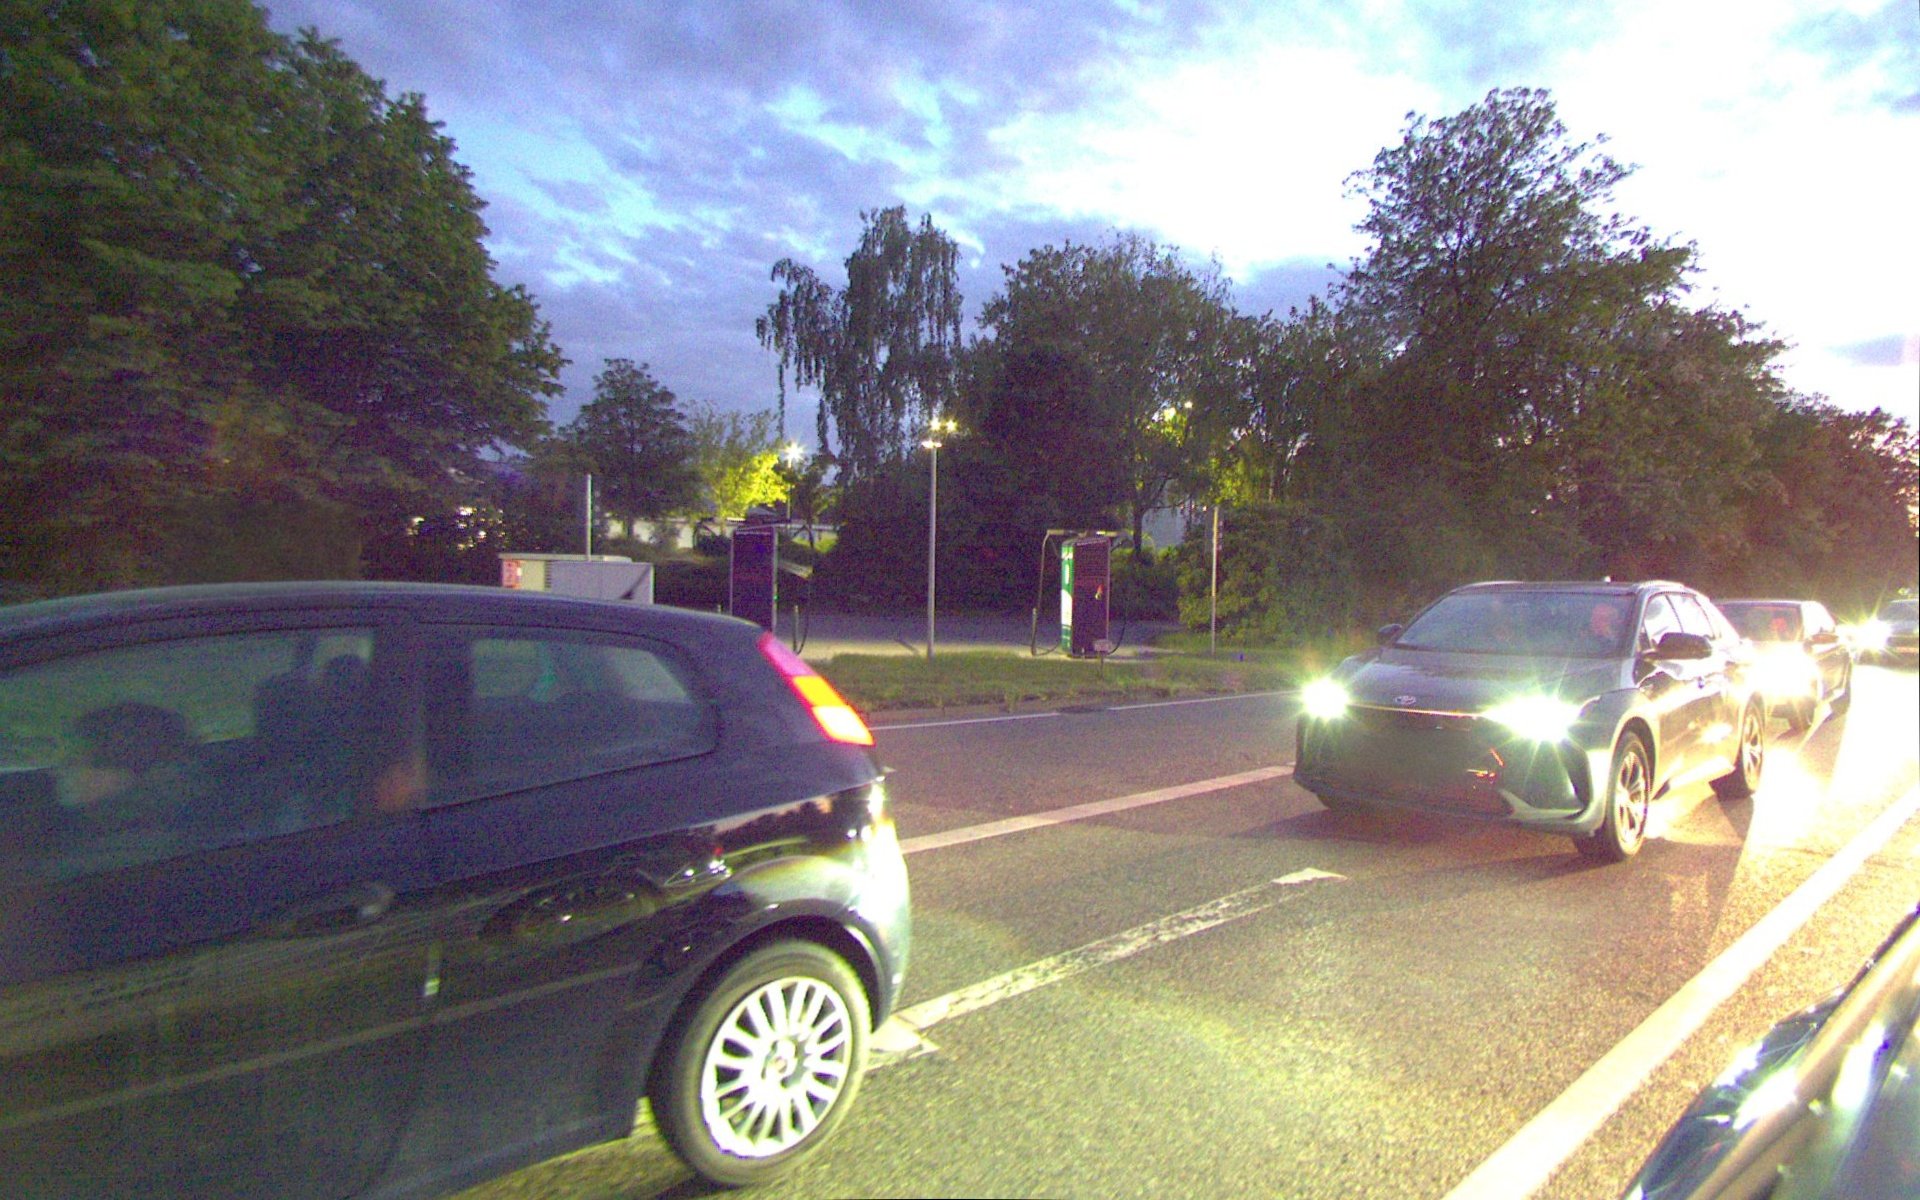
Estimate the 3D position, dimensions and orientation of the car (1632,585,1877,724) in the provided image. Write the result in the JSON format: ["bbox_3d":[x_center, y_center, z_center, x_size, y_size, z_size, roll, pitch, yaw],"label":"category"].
[{"bbox_3d":[9.809,0.573,12.407,3.688,1.431,1.621,1,1,-40],"label":"car"}]

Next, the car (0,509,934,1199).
[{"bbox_3d":[-1.999,0.624,2.261,3.648,1.556,1.662,0,1,-40],"label":"car"}]

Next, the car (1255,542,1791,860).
[{"bbox_3d":[4.122,0.522,7.124,4.223,1.577,1.901,1,-1,-40],"label":"car"}]

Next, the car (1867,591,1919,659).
[{"bbox_3d":[21.761,0.518,22.571,3.930,1.385,1.817,-1,1,-41],"label":"car"}]
